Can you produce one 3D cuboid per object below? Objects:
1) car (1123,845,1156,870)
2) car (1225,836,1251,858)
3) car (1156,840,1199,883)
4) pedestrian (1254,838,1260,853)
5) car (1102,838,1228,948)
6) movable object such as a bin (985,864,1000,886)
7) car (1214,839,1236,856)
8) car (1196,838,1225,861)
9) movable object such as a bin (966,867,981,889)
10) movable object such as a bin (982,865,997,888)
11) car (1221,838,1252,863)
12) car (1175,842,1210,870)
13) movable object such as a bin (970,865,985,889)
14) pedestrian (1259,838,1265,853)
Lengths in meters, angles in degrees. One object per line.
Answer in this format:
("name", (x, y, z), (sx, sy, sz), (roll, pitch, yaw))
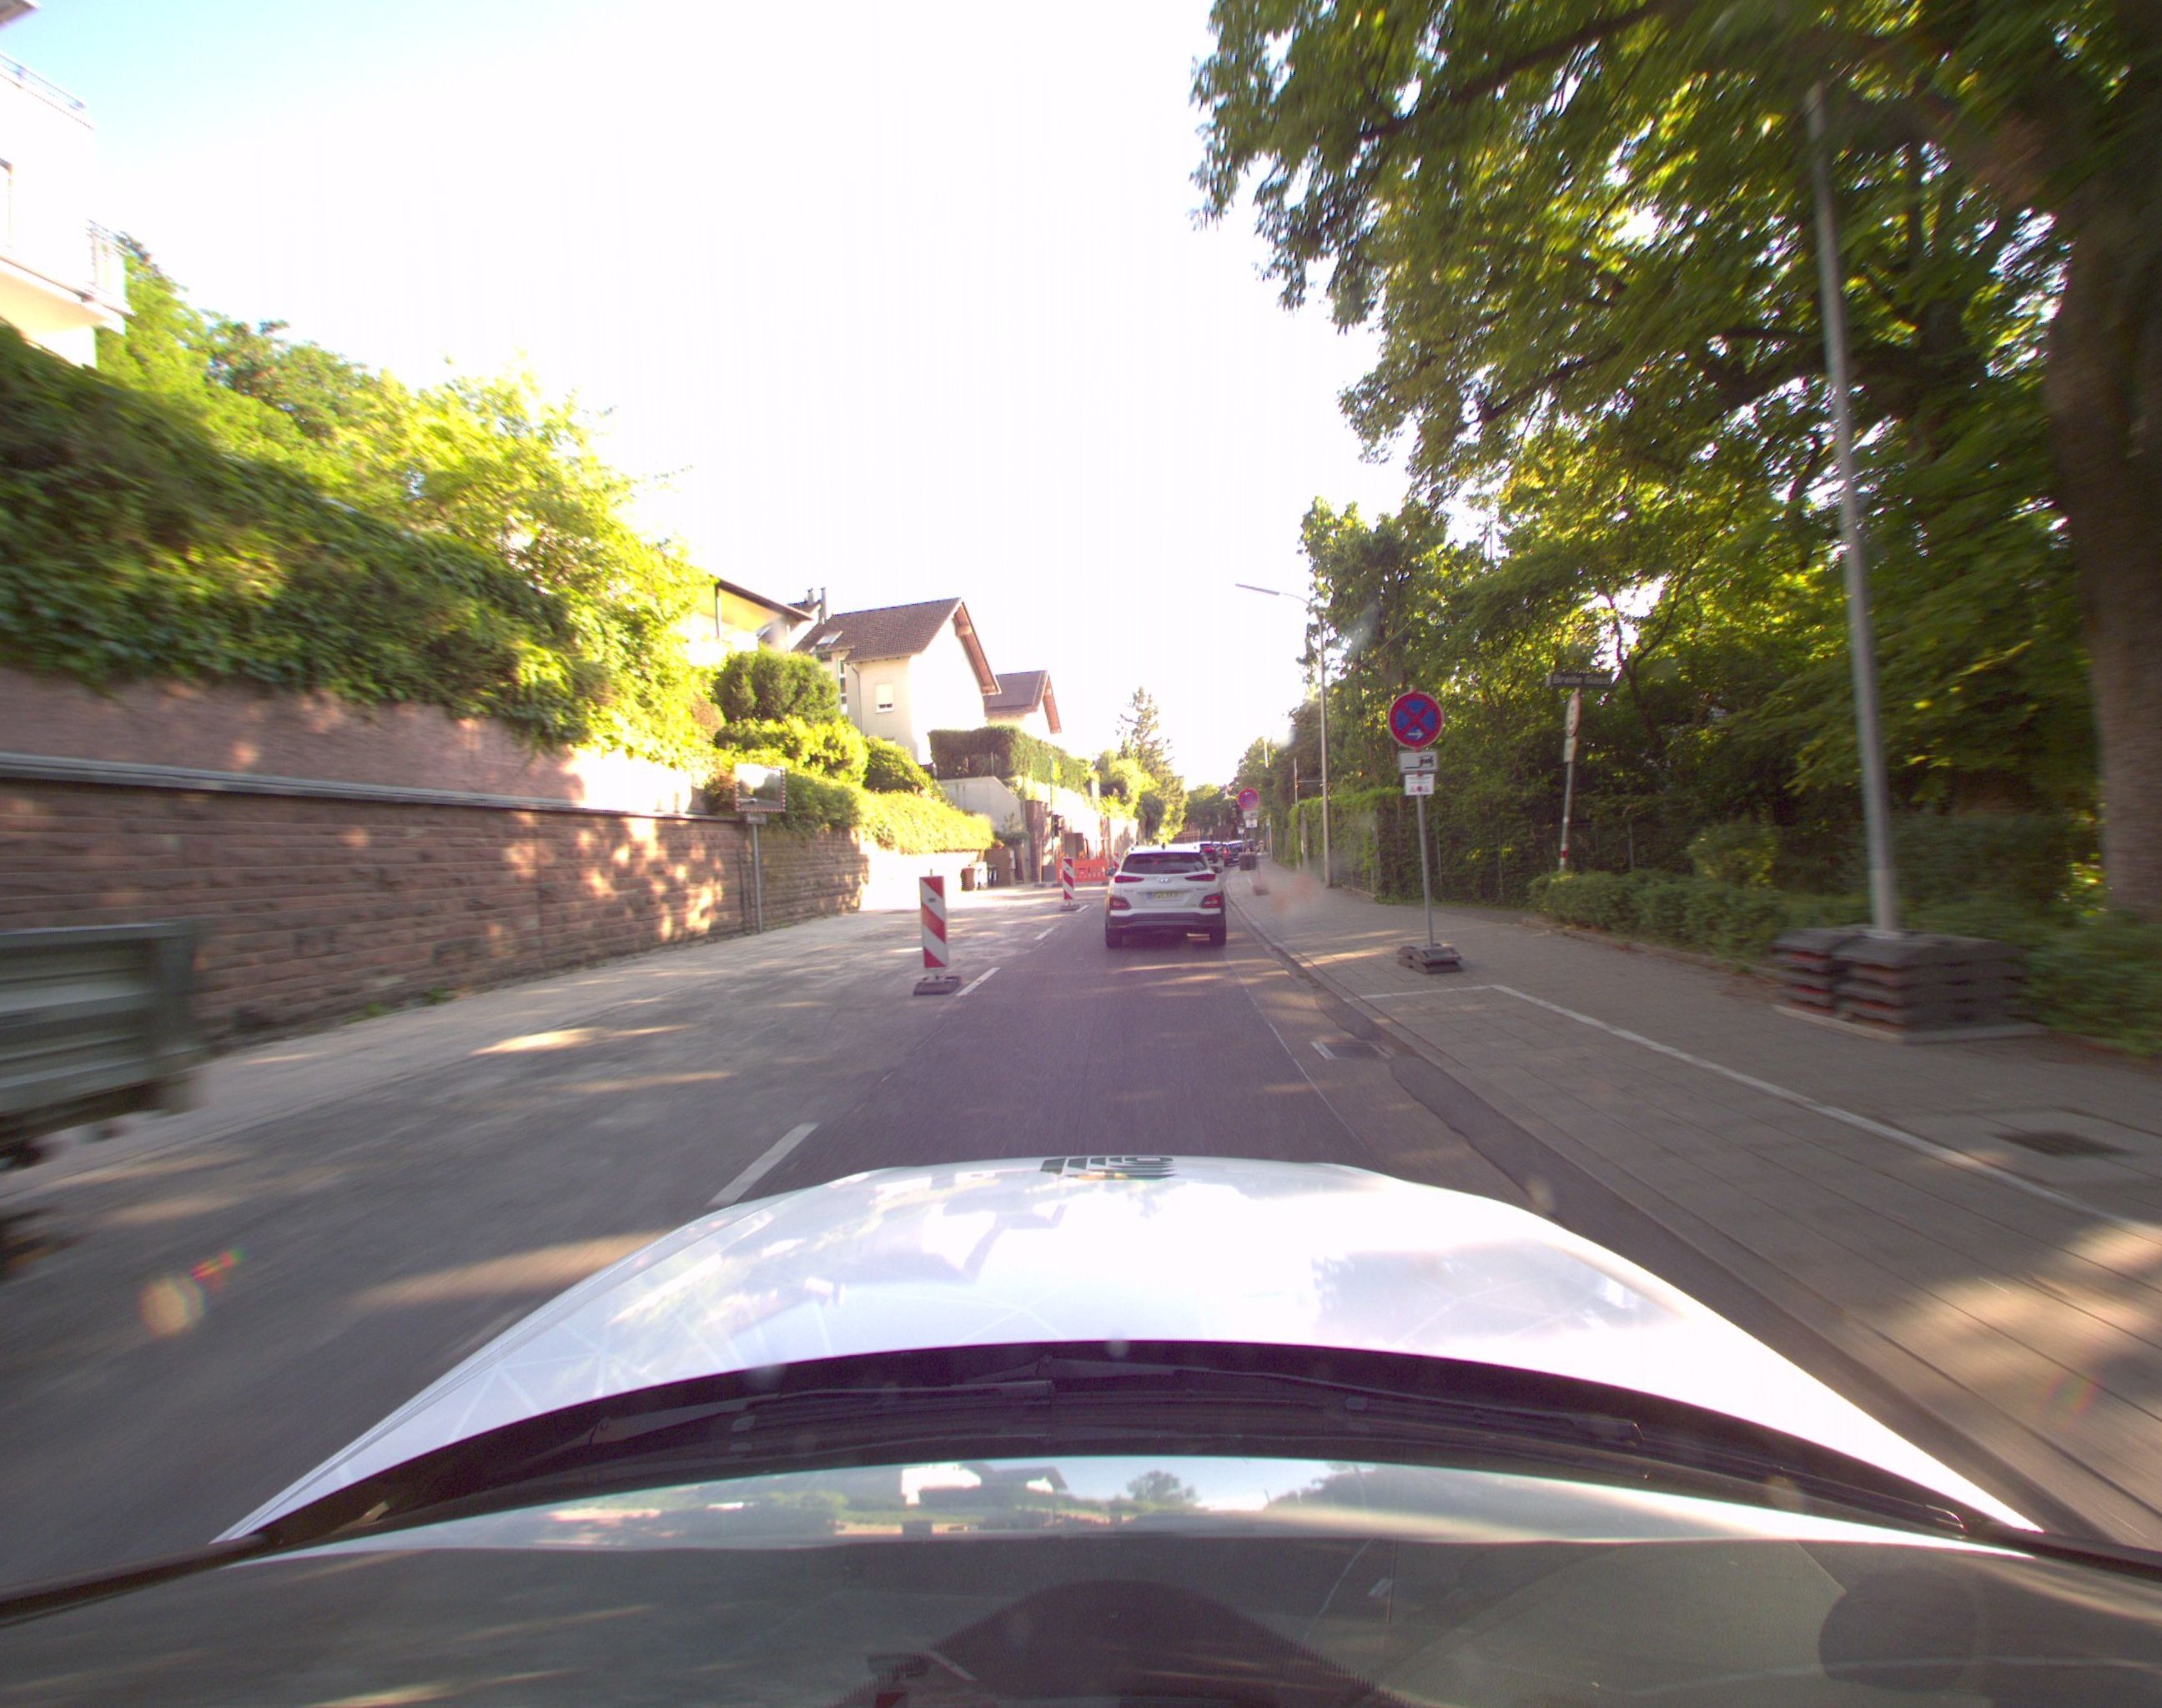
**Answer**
("car", (3.783, 0.185, 52.110), (1.616, 1.422, 3.573), (-4, 0, 10))
("car", (11.912, -0.536, 61.700), (1.641, 1.564, 2.884), (-3, 0, 14))
("car", (3.897, 0.265, 32.643), (1.503, 1.533, 3.557), (-3, 0, 9))
("pedestrian", (19.408, -0.889, 89.869), (0.499, 1.606, 0.493), (-5, -1, 12))
("car", (1.454, 0.555, 13.661), (1.762, 1.542, 4.008), (-1, 0, 7))
("movable object such as a bin", (-3.697, 0.892, 34.035), (0.453, 0.884, 0.502), (-2, 0, 10))
("car", (13.270, -0.649, 74.877), (1.682, 1.447, 3.896), (-3, 0, 13))
("car", (9.666, -0.352, 60.670), (1.681, 1.533, 3.897), (-3, 0, 14))
("movable object such as a bin", (-4.153, 0.936, 31.516), (0.451, 0.834, 0.393), (-3, 0, 10))
("movable object such as a bin", (-3.772, 0.918, 33.512), (0.453, 0.884, 0.502), (-2, 0, 10))
("car", (9.902, -0.277, 51.706), (1.782, 1.440, 4.014), (-3, 0, 12))
("car", (6.228, 0.079, 45.306), (1.560, 1.477, 3.560), (-2, 0, 13))
("movable object such as a bin", (-4.061, 0.902, 31.979), (0.453, 0.884, 0.502), (-2, 0, 10))
("pedestrian", (19.963, -0.924, 89.713), (0.499, 1.569, 0.505), (-5, -1, 12))
